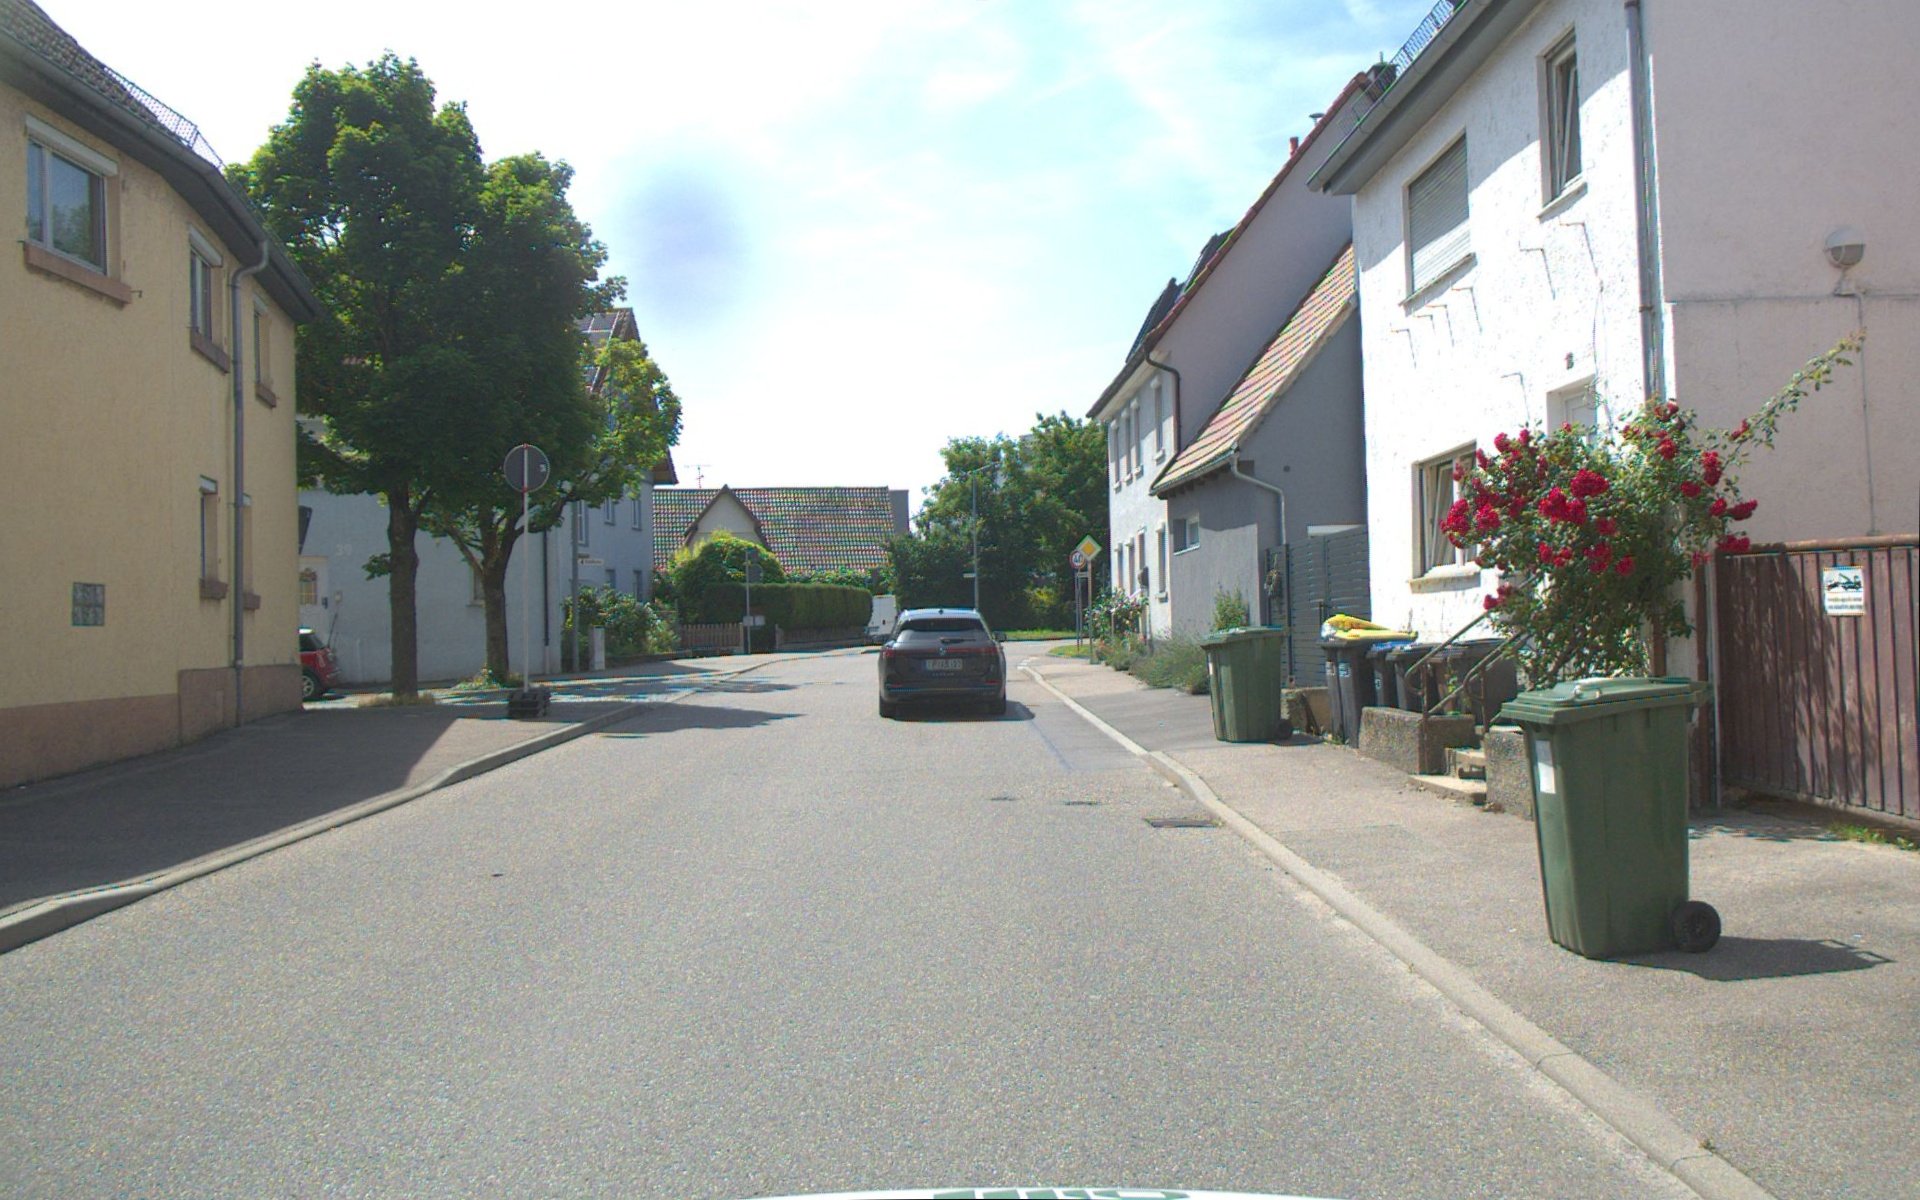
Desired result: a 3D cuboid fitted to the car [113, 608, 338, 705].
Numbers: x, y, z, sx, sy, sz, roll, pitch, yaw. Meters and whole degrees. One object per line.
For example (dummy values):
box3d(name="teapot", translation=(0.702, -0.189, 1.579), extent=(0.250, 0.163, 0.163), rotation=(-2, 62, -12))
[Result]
box3d(name="car", translation=(-14.683, 1.104, 33.310), extent=(3.926, 1.780, 1.989), rotation=(-1, -1, -19))

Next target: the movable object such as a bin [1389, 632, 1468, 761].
box3d(name="movable object such as a bin", translation=(3.815, 0.780, 13.493), extent=(0.493, 1.011, 0.442), rotation=(-1, 0, -1))

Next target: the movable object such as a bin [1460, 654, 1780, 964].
box3d(name="movable object such as a bin", translation=(2.721, 0.829, 6.913), extent=(0.859, 1.093, 0.872), rotation=(-6, 0, -5))

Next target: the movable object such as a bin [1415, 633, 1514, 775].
box3d(name="movable object such as a bin", translation=(3.919, 0.797, 12.872), extent=(0.580, 1.058, 0.530), rotation=(-1, 0, -1))

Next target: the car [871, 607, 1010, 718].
box3d(name="car", translation=(-0.239, 0.836, 23.920), extent=(1.803, 1.445, 4.682), rotation=(0, 0, 0))

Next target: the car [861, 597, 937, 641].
box3d(name="car", translation=(-2.965, 0.929, 81.778), extent=(2.083, 2.049, 4.940), rotation=(-1, 0, 19))

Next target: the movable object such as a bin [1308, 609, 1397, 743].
box3d(name="movable object such as a bin", translation=(3.706, 0.707, 15.650), extent=(0.651, 1.215, 0.660), rotation=(-1, 0, -1))

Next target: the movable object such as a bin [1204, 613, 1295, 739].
box3d(name="movable object such as a bin", translation=(2.793, 0.721, 16.007), extent=(0.665, 1.175, 0.819), rotation=(-1, 0, -5))

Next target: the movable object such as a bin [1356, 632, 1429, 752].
box3d(name="movable object such as a bin", translation=(3.771, 0.792, 14.445), extent=(0.493, 1.011, 0.442), rotation=(-1, 0, -1))

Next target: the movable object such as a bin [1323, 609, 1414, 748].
box3d(name="movable object such as a bin", translation=(3.689, 0.698, 14.973), extent=(0.651, 1.215, 0.588), rotation=(-1, 0, -1))
